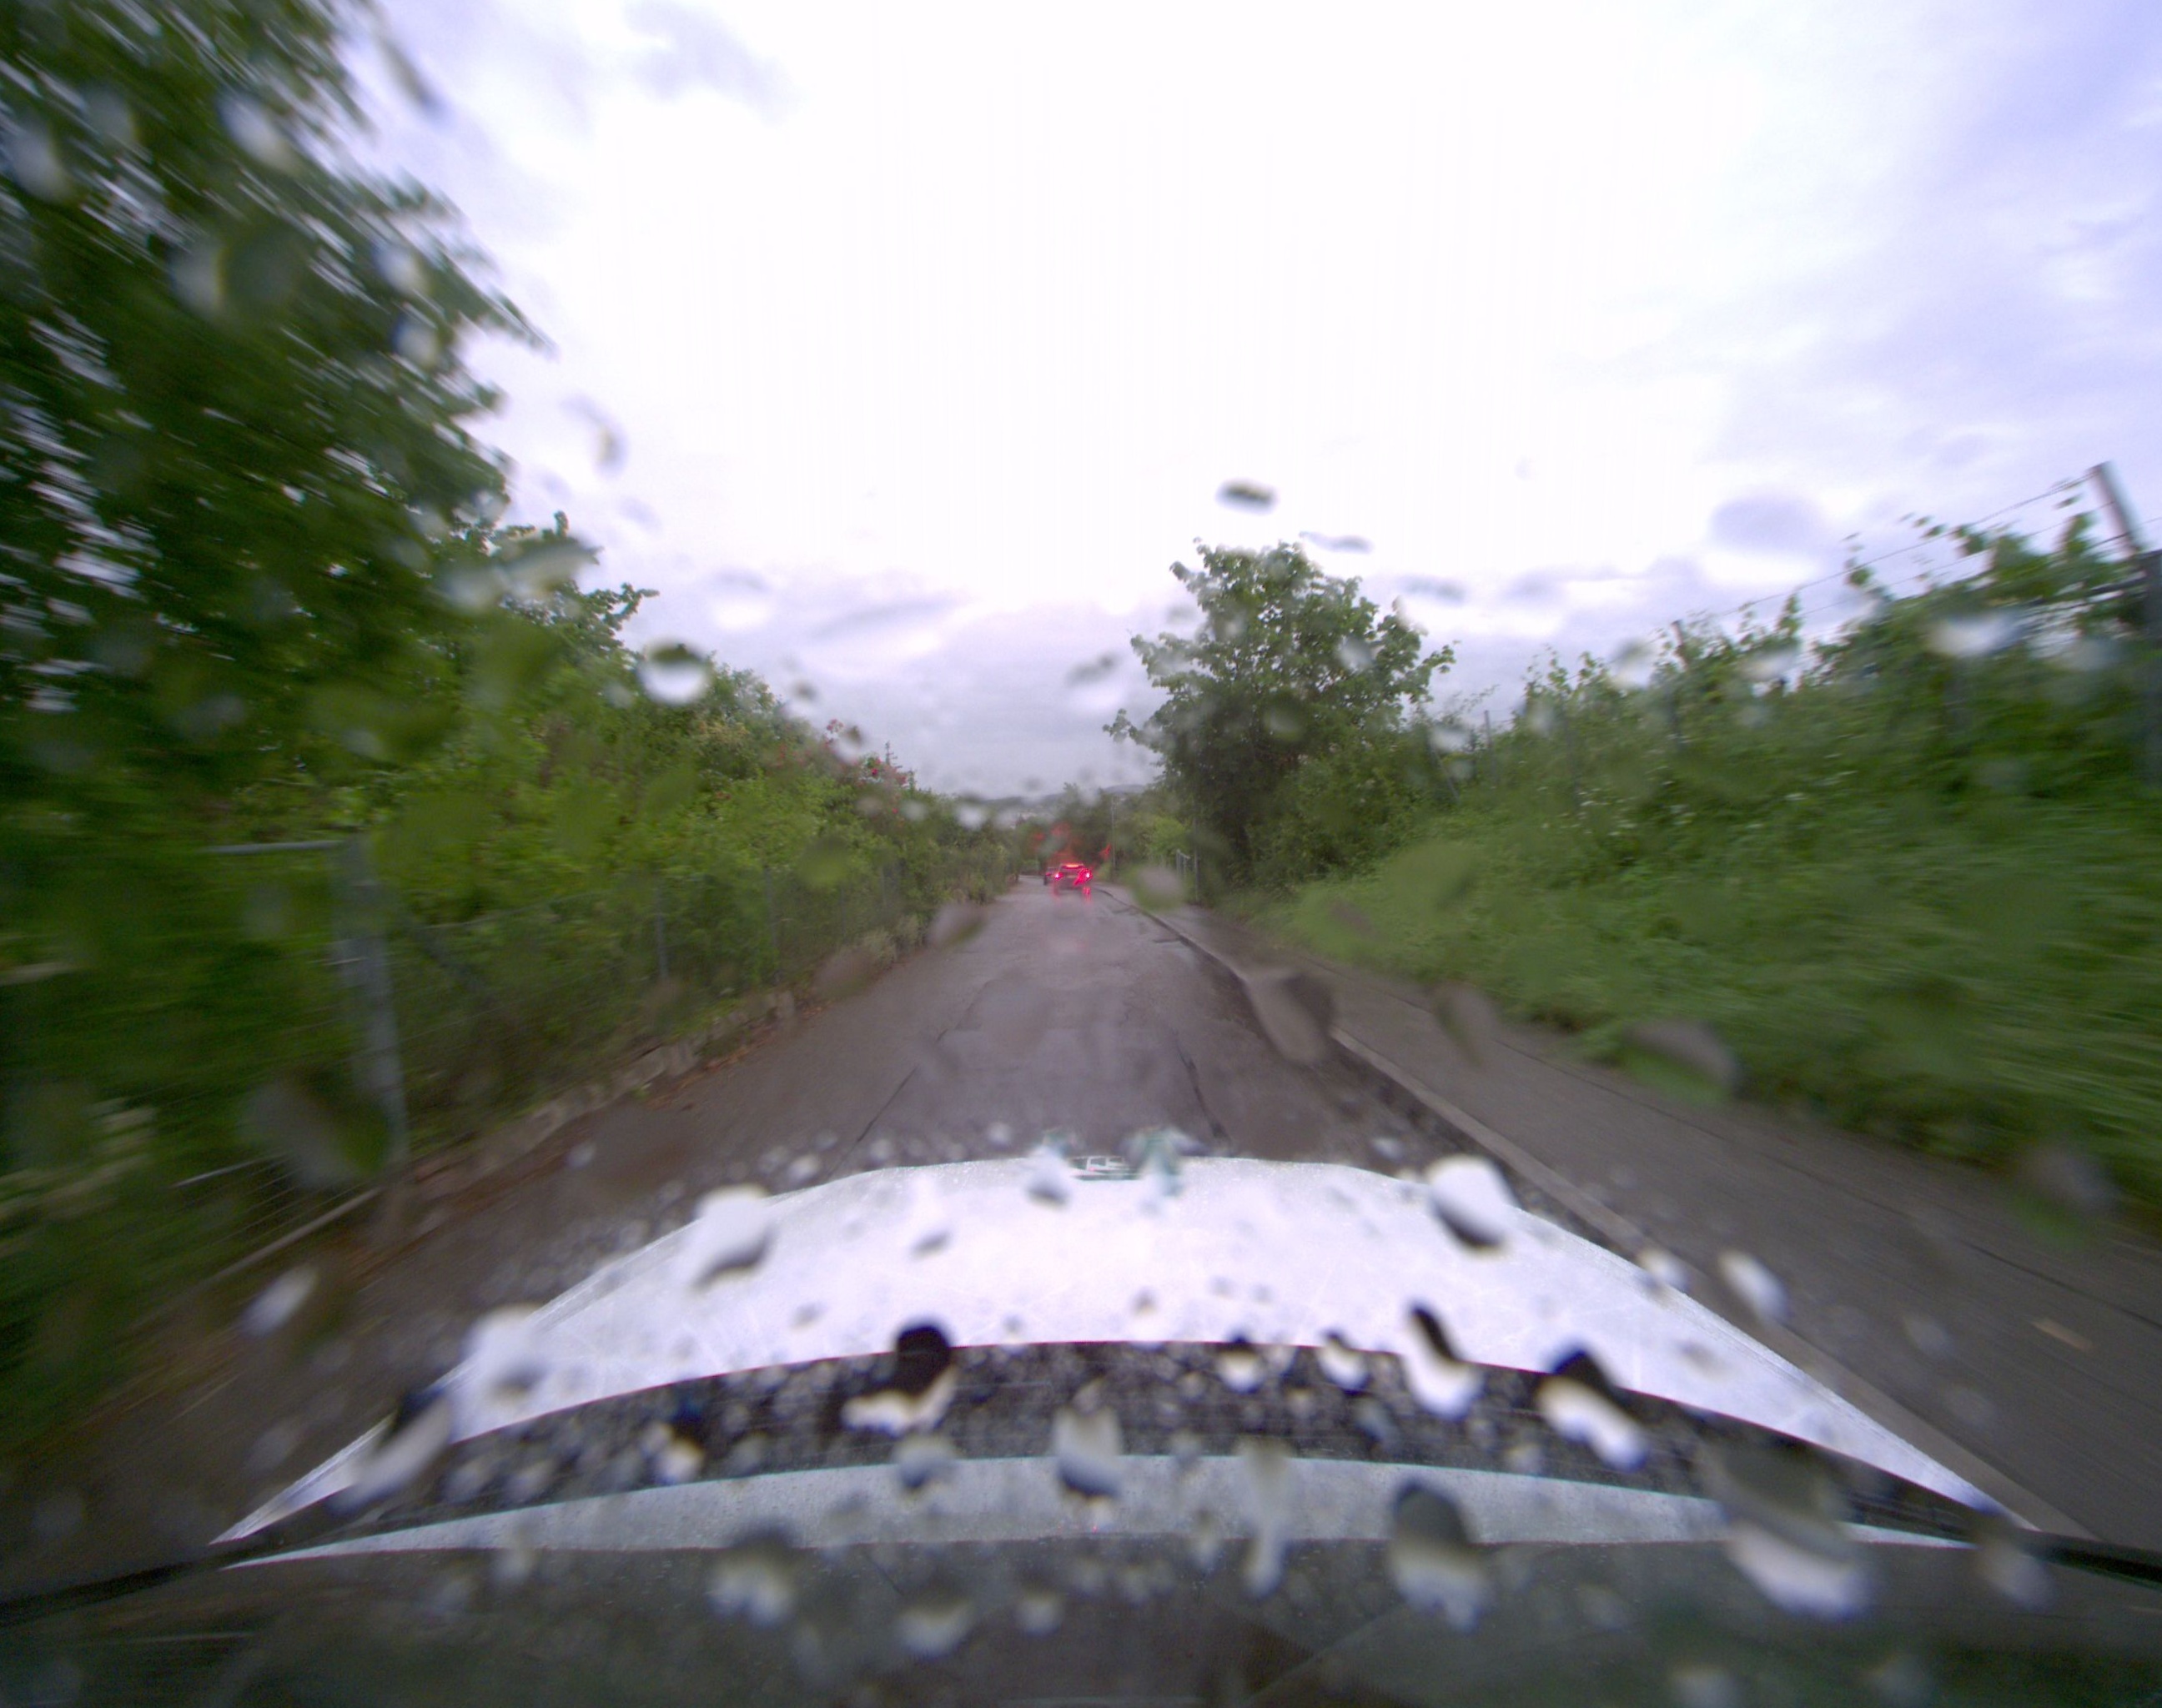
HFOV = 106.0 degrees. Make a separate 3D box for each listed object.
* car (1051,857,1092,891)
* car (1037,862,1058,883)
[{"bbox_3d":[-0.470,0.942,39.535,1.830,1.464,3.997,-3,0,-2],"label":"car"},{"bbox_3d":[-2.805,1.498,68.044,1.674,1.565,3.790,-1,1,-3],"label":"car"}]
